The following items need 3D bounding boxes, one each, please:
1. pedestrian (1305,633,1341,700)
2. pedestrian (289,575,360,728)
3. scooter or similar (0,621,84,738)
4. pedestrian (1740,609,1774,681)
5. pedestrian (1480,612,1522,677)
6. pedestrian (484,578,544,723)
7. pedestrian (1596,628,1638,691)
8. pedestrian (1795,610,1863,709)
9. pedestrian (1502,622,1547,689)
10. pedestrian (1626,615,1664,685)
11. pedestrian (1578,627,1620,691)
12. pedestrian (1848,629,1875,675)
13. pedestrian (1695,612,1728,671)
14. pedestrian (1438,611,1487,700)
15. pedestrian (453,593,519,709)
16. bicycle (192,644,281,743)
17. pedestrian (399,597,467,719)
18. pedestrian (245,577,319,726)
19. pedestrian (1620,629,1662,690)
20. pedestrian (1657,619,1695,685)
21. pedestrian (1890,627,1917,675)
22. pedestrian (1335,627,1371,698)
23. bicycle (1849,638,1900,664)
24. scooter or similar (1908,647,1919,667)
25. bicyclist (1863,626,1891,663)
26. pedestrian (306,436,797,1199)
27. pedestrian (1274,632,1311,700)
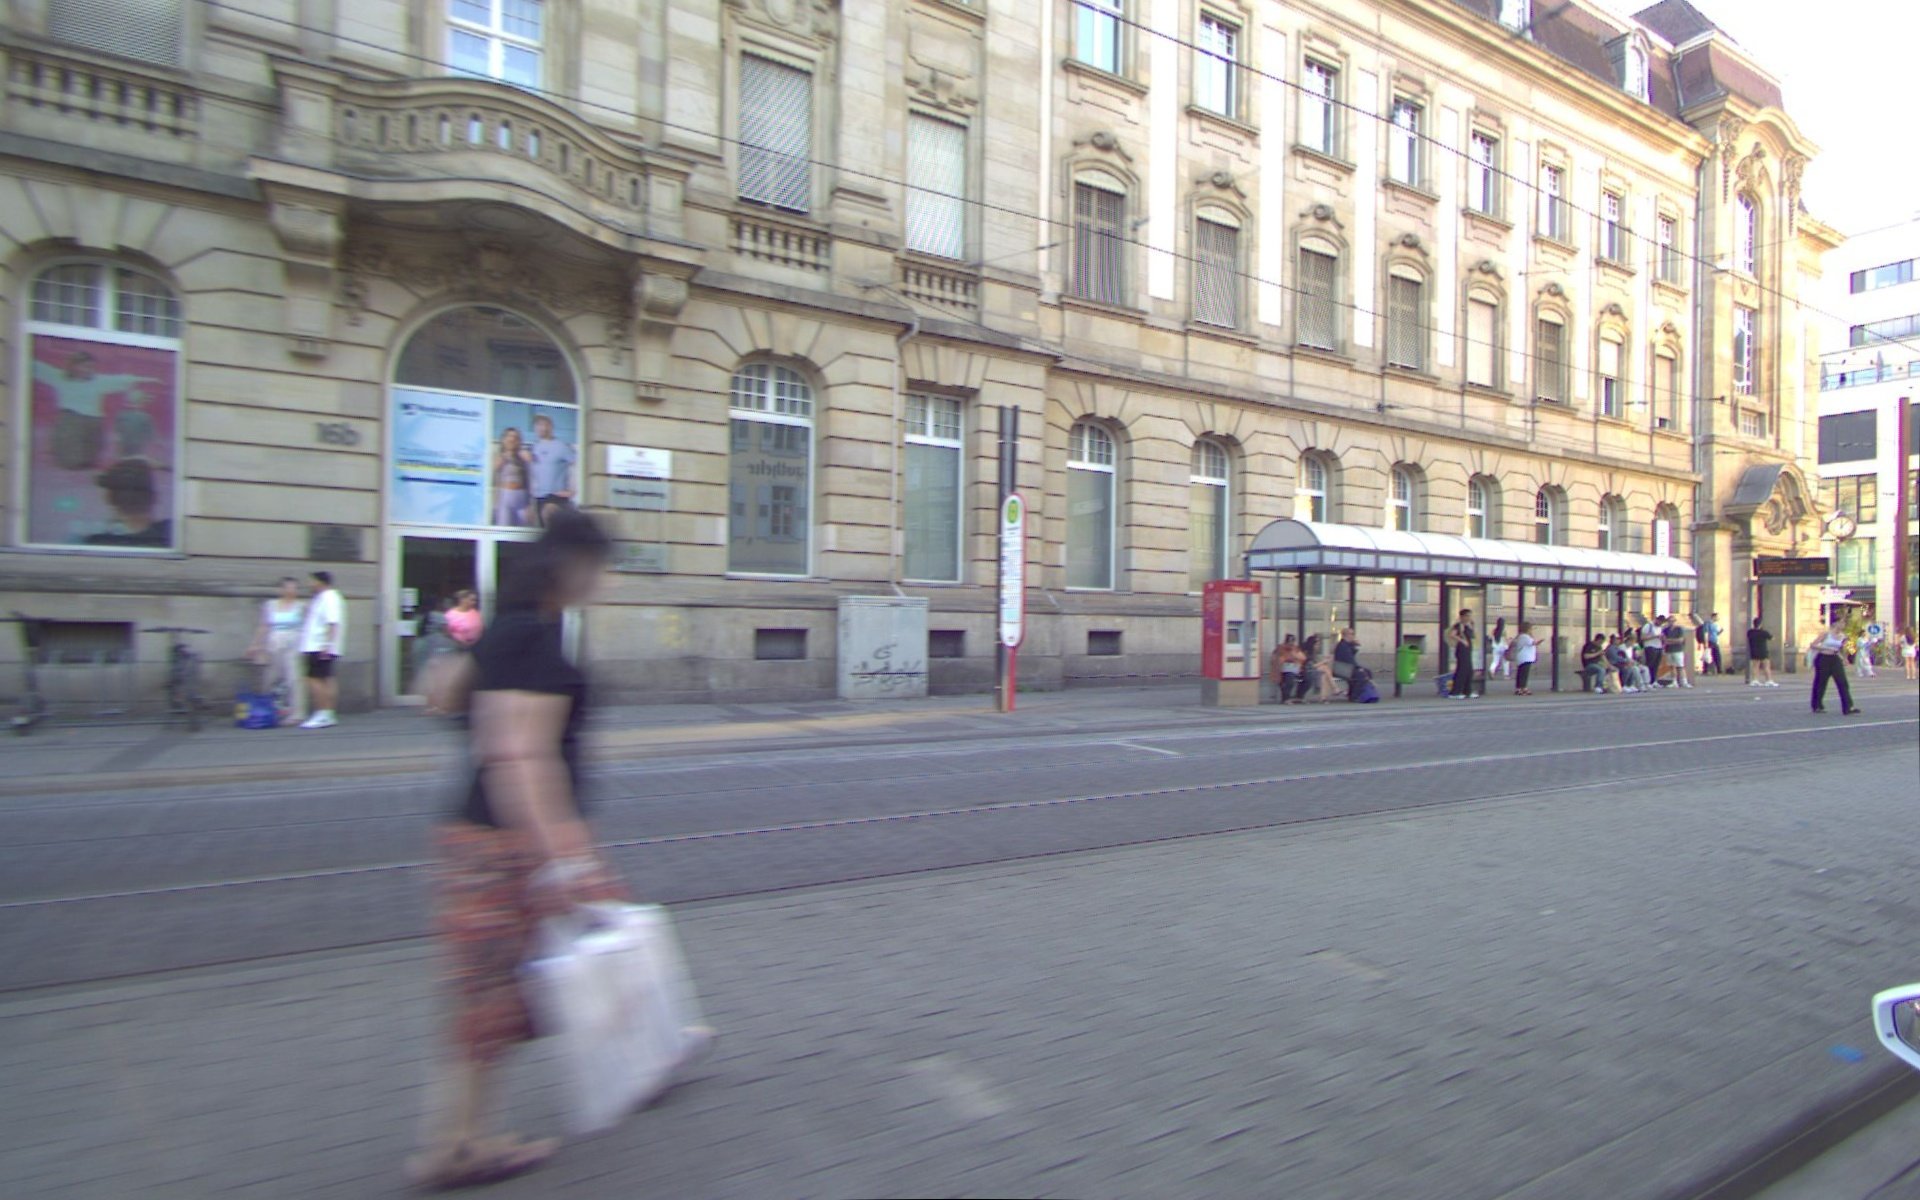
[{"bbox_3d":[6.163,1.125,17.051,0.424,1.117,0.363,2,0,-25],"label":"pedestrian"},{"bbox_3d":[-7.107,0.570,11.253,0.554,1.664,0.475,2,0,-22],"label":"pedestrian"},{"bbox_3d":[-9.655,0.784,10.405,0.445,1.082,1.542,2,0,-25],"label":"scooter or similar"},{"bbox_3d":[20.315,1.146,25.612,0.464,1.800,0.556,1,0,-34],"label":"pedestrian"},{"bbox_3d":[13.934,1.129,25.879,0.624,1.636,0.695,2,0,-32],"label":"pedestrian"},{"bbox_3d":[-5.183,0.576,11.660,0.565,1.627,0.437,2,0,-29],"label":"pedestrian"},{"bbox_3d":[14.382,1.291,21.985,0.630,1.345,0.516,2,-1,-27],"label":"pedestrian"},{"bbox_3d":[15.447,1.040,17.861,0.627,1.713,0.675,2,-1,-14],"label":"pedestrian"},{"bbox_3d":[11.456,1.120,20.382,0.630,1.345,0.516,2,-1,-27],"label":"pedestrian"},{"bbox_3d":[16.624,1.218,24.378,0.630,1.667,0.516,2,-1,-27],"label":"pedestrian"},{"bbox_3d":[13.733,1.267,21.592,0.630,1.345,0.516,2,-1,-27],"label":"pedestrian"},{"bbox_3d":[30.881,1.781,34.407,0.512,1.545,0.499,1,0,-21],"label":"pedestrian"},{"bbox_3d":[23.278,1.289,31.124,0.699,1.800,0.616,1,0,-34],"label":"pedestrian"},{"bbox_3d":[9.632,1.053,19.273,0.627,1.672,0.518,2,-1,-14],"label":"pedestrian"},{"bbox_3d":[-6.419,0.675,13.598,0.532,1.510,0.592,2,0,36],"label":"pedestrian"},{"bbox_3d":[-7.506,0.938,10.473,0.445,0.885,1.570,2,0,-25],"label":"bicycle"},{"bbox_3d":[-6.543,0.708,12.480,0.560,1.459,0.441,2,0,6],"label":"pedestrian"},{"bbox_3d":[-7.746,0.588,11.488,0.597,1.664,0.334,2,0,-24],"label":"pedestrian"},{"bbox_3d":[15.155,1.319,22.365,0.630,1.345,0.516,2,-1,-27],"label":"pedestrian"},{"bbox_3d":[17.443,1.263,24.467,0.630,1.590,0.516,2,-1,-27],"label":"pedestrian"},{"bbox_3d":[30.566,1.640,32.536,0.497,1.545,0.523,1,0,-32],"label":"pedestrian"},{"bbox_3d":[6.859,1.081,17.520,0.424,1.216,0.363,2,0,-25],"label":"pedestrian"},{"bbox_3d":[40.951,2.281,44.997,0.623,1.118,1.611,2,-3,-32],"label":"bicycle"},{"bbox_3d":[44.753,2.642,46.470,0.879,0.916,1.088,1,-1,-29],"label":"scooter or similar"},{"bbox_3d":[41.006,1.983,44.930,0.603,1.614,0.785,2,-1,-31],"label":"bicyclist"},{"bbox_3d":[-0.967,0.484,2.360,0.891,1.521,0.842,1,-1,-31],"label":"pedestrian"},{"bbox_3d":[5.590,1.105,16.888,0.424,1.117,0.363,2,0,-25],"label":"pedestrian"}]
